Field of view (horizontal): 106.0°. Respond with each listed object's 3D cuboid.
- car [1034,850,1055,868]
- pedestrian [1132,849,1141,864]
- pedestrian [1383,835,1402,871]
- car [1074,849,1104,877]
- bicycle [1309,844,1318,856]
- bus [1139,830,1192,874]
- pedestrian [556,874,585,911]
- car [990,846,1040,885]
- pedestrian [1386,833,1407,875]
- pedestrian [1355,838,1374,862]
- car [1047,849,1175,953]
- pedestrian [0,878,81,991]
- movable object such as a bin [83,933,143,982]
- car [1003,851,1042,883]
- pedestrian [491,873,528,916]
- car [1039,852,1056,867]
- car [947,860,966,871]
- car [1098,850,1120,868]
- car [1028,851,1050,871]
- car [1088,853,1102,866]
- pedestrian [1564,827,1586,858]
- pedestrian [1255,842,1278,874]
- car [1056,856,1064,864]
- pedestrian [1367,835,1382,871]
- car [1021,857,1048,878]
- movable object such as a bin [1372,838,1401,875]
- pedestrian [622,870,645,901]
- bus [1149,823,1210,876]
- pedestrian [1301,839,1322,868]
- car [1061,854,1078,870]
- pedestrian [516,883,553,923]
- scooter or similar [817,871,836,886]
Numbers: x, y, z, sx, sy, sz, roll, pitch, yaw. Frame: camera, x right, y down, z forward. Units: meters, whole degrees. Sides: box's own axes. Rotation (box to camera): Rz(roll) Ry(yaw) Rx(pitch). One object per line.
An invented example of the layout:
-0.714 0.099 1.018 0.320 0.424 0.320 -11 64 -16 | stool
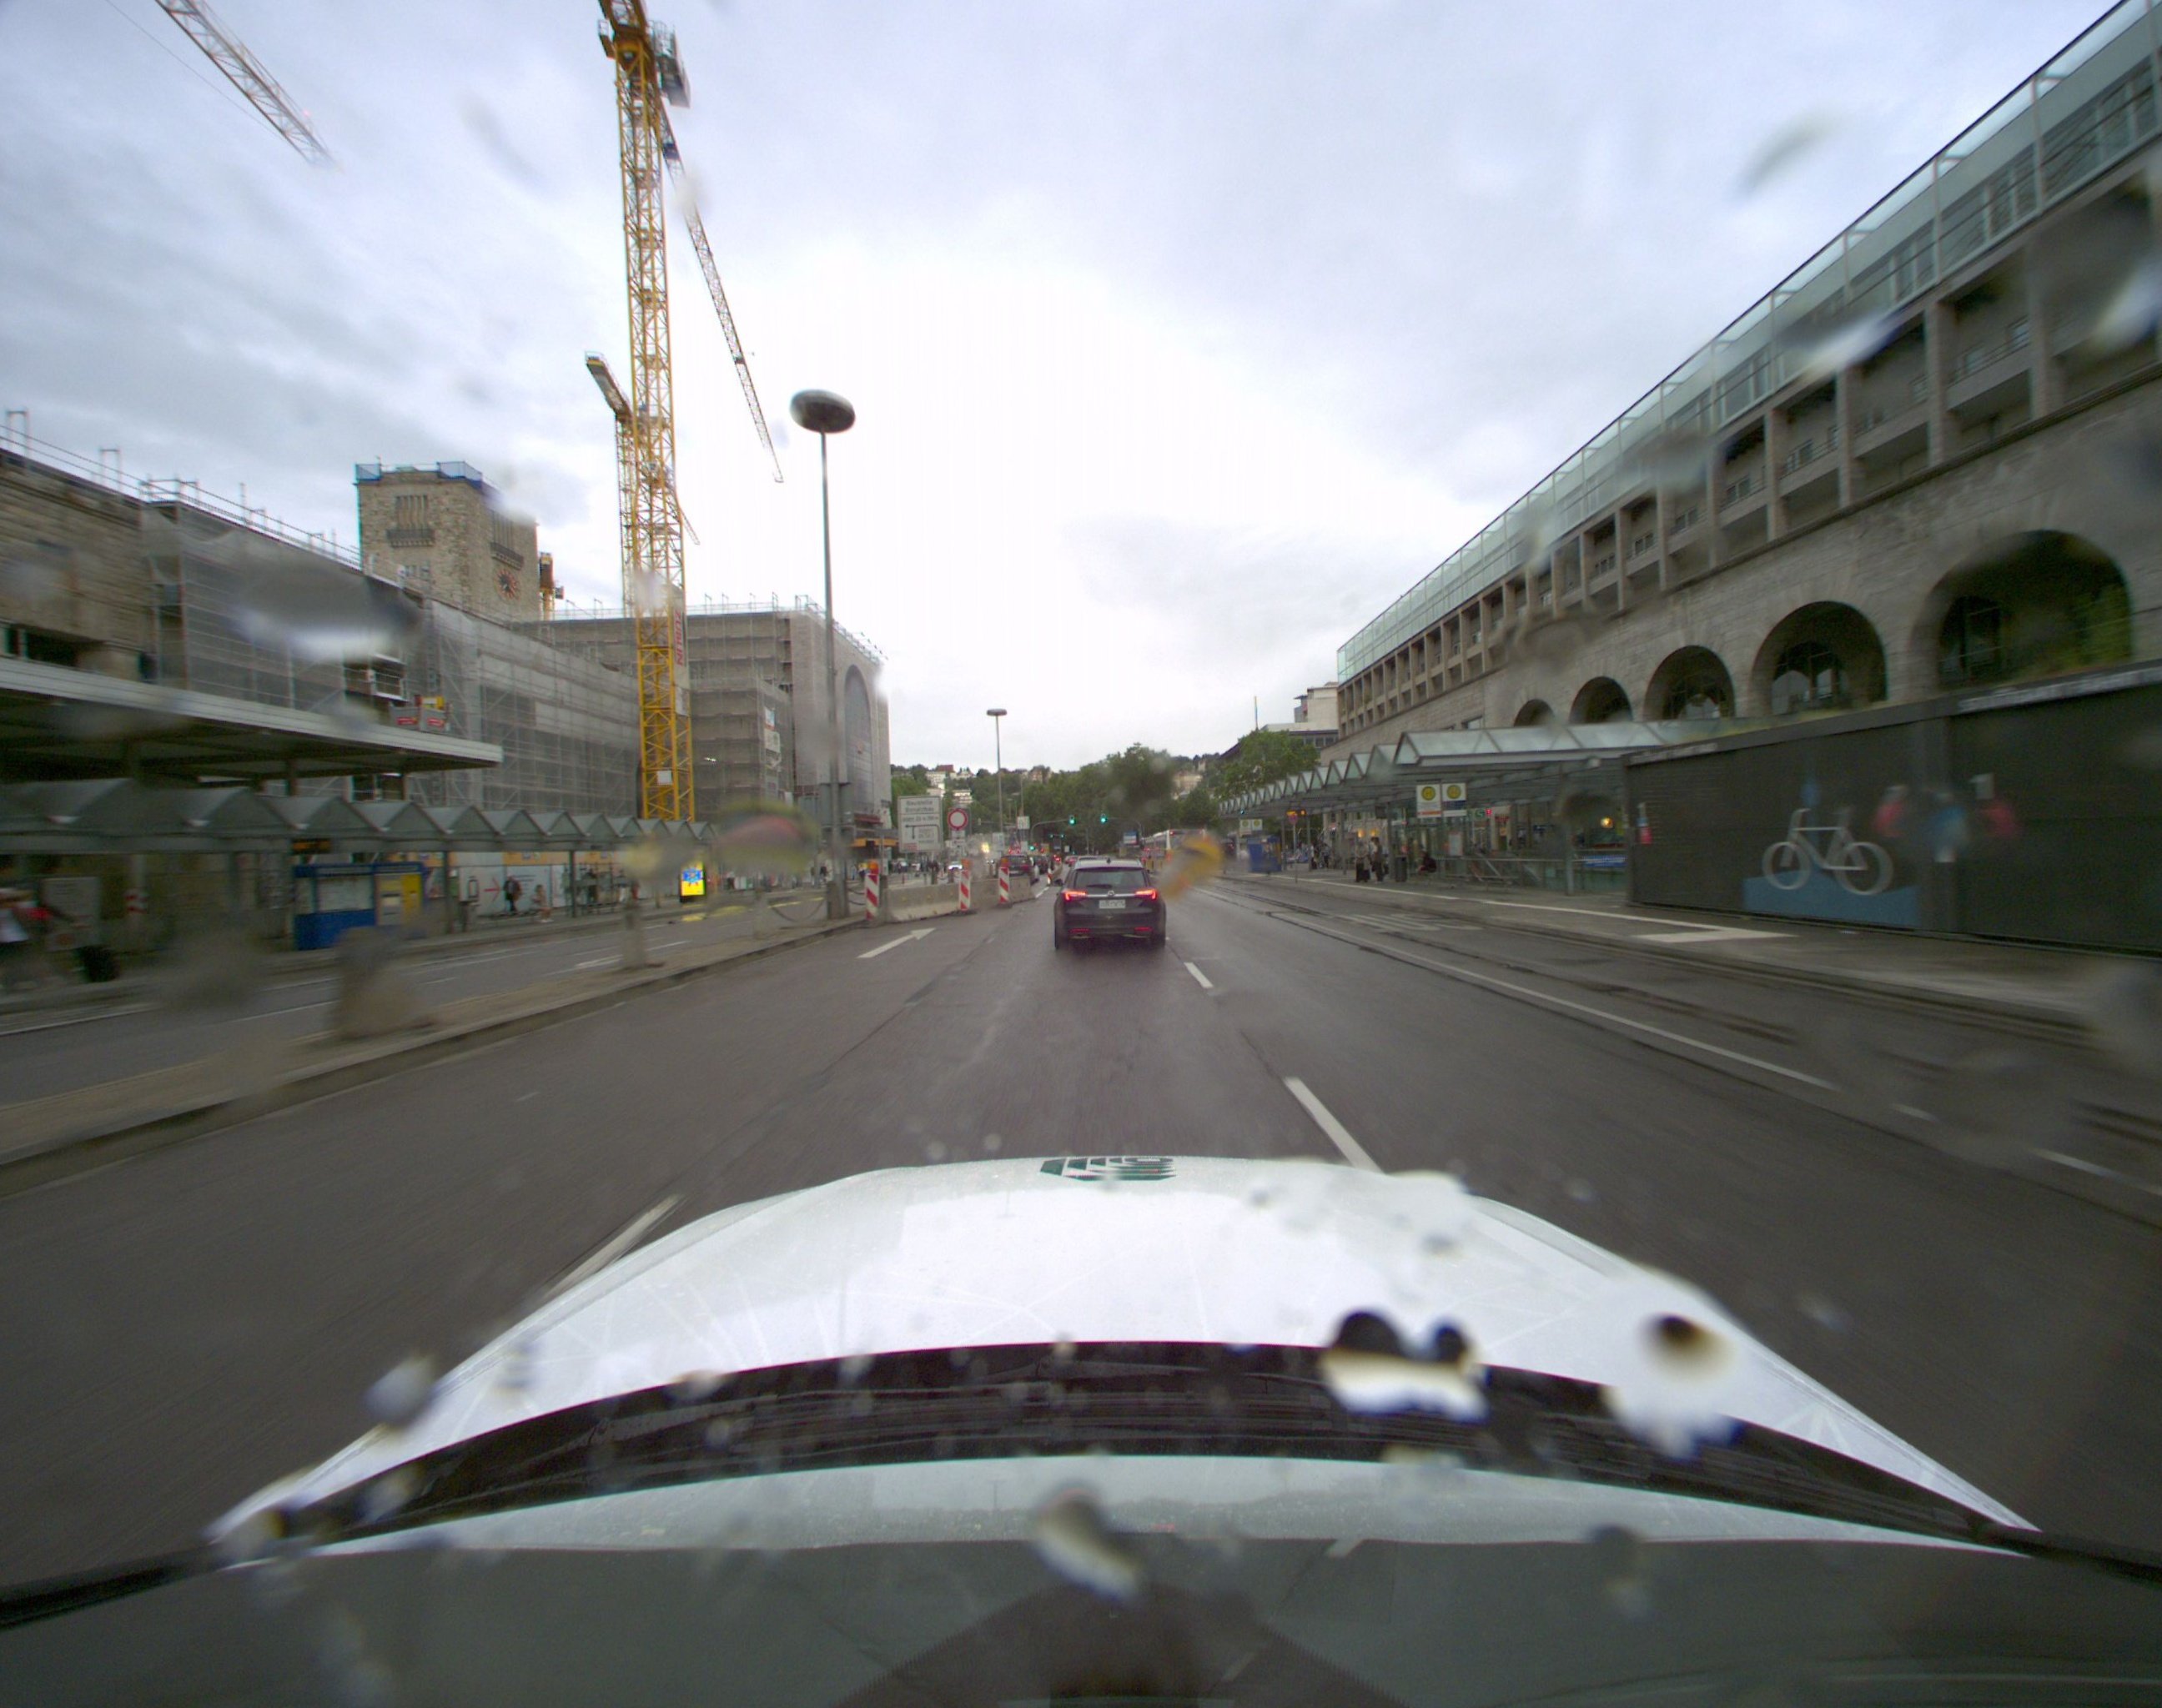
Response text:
-3.828 0.517 85.190 1.988 1.787 4.845 -2 0 -1 | car
7.311 0.317 107.344 0.788 1.838 0.945 -2 0 -15 | pedestrian
16.039 -0.059 41.955 0.609 1.831 0.588 -1 0 -29 | pedestrian
0.529 0.542 52.265 1.824 1.686 4.135 -2 0 1 | car
31.840 -0.561 111.560 0.789 1.562 2.135 -2 0 7 | bicycle
6.614 -0.127 65.180 3.104 3.205 9.238 -1 -1 -1 | bus
-23.027 1.723 36.745 0.800 1.608 0.701 -2 0 -1 | pedestrian
-3.388 0.581 42.627 1.986 1.862 4.834 -2 0 1 | car
13.983 -0.016 36.135 0.744 1.836 0.765 -2 0 16 | pedestrian
20.428 -0.287 58.725 0.975 1.695 0.863 -2 0 40 | pedestrian
0.520 0.706 14.638 1.870 1.508 4.853 -2 0 2 | car
-17.283 1.302 13.419 0.785 1.790 0.666 -2 0 -27 | pedestrian
-17.641 1.871 14.850 0.638 0.789 0.505 -2 -1 -45 | movable object such as a bin
-3.365 0.745 47.969 1.988 1.706 4.829 -2 0 -1 | car
-23.467 1.634 33.465 0.875 1.700 0.836 -2 0 -1 | pedestrian
-4.007 0.629 96.937 1.781 1.685 4.665 -2 0 0 | car
-17.528 1.653 114.685 1.987 1.468 3.999 -1 -1 0 | car
2.676 0.489 78.837 1.847 1.717 3.996 -1 -1 -2 | car
-4.059 0.682 79.375 1.988 1.787 4.450 -2 0 -2 | car
1.729 0.648 101.578 1.669 1.581 3.238 -1 -1 -1 | car
27.369 -0.640 45.120 0.757 1.710 0.753 -2 0 0 | pedestrian
10.001 0.195 43.989 0.762 1.690 0.992 -2 0 -21 | pedestrian
-4.402 1.275 171.771 1.701 1.665 3.705 -1 -1 0 | car
15.422 -0.047 42.757 0.603 1.859 0.627 -2 0 9 | pedestrian
-3.866 1.085 67.864 1.988 1.654 4.639 -2 0 -1 | car
14.206 0.116 37.863 0.665 1.652 1.040 -2 0 -23 | movable object such as a bin
-23.161 1.634 42.129 0.801 1.547 0.700 -2 0 -5 | pedestrian
6.614 -0.237 56.014 3.131 3.247 9.134 -1 -1 0 | bus
14.934 -0.026 52.726 0.791 1.804 0.983 -2 -1 -28 | pedestrian
-1.522 1.057 106.618 1.979 2.014 4.364 -1 -1 -3 | car
-18.933 1.691 28.228 0.697 1.326 0.805 -2 0 -1 | pedestrian
-18.440 1.788 59.008 0.454 1.066 1.248 -2 0 35 | scooter or similar
